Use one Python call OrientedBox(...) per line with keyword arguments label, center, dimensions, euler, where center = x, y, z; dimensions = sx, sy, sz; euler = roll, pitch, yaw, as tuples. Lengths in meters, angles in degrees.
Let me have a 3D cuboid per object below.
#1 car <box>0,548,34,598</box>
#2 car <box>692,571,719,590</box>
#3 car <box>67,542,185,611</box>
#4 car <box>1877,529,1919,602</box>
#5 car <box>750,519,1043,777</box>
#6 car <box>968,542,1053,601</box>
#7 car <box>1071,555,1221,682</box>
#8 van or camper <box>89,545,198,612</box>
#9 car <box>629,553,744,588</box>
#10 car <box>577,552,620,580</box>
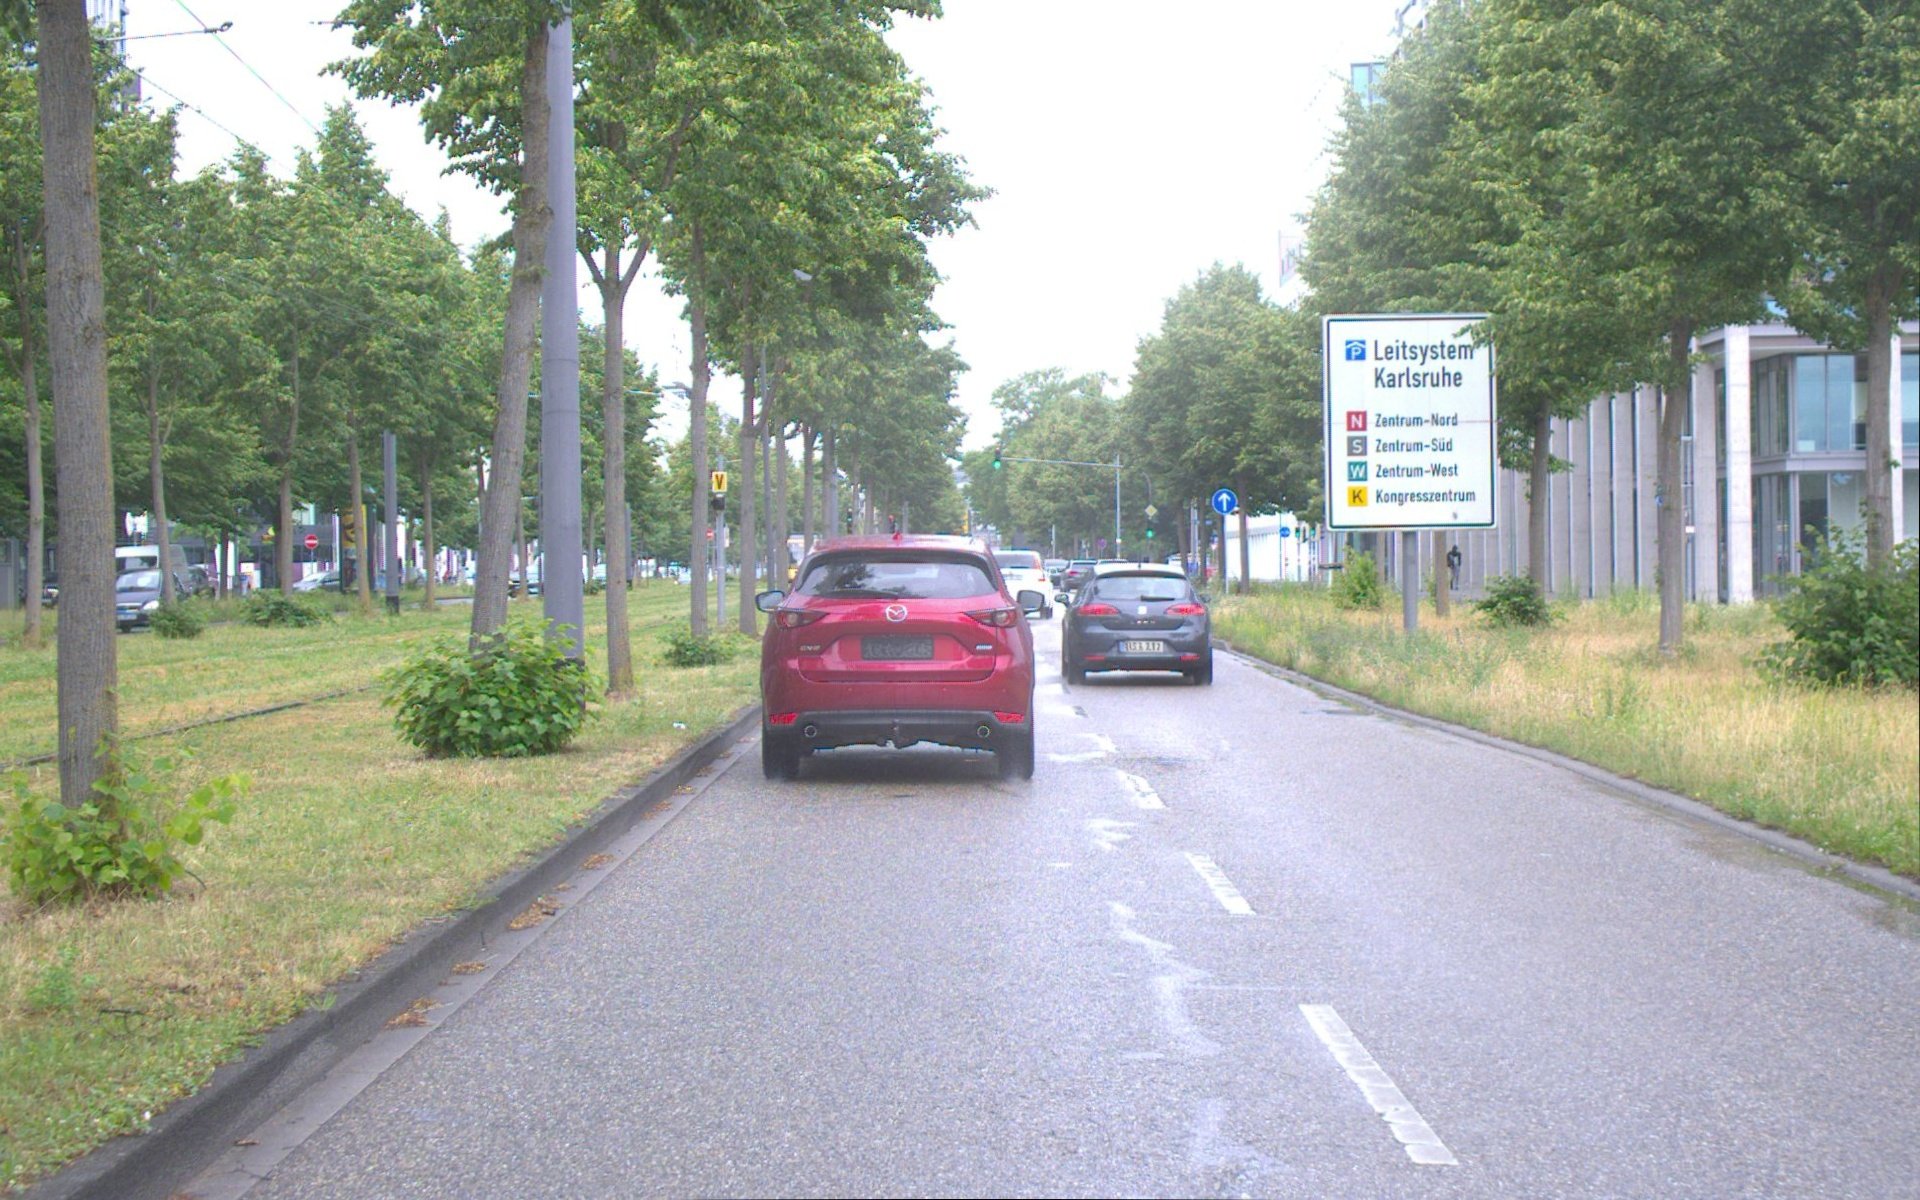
OrientedBox(label="car", center=(-28.571, -0.789, 100.813), dimensions=(1.702, 1.444, 4.241), euler=(0, 1, 0))
OrientedBox(label="car", center=(-19.035, -1.479, 257.216), dimensions=(1.710, 1.399, 4.000), euler=(0, 1, 0))
OrientedBox(label="car", center=(-20.727, -0.605, 85.588), dimensions=(1.993, 1.651, 3.699), euler=(-1, 1, 0))
OrientedBox(label="car", center=(21.475, -0.781, 75.908), dimensions=(1.855, 1.575, 3.999), euler=(0, 1, 7))
OrientedBox(label="car", center=(-0.431, 0.278, 24.289), dimensions=(1.898, 1.671, 4.000), euler=(0, 1, -1))
OrientedBox(label="car", center=(1.234, -0.733, 86.124), dimensions=(1.967, 1.432, 4.553), euler=(0, 1, -1))
OrientedBox(label="car", center=(2.317, 0.192, 42.127), dimensions=(1.744, 1.460, 3.781), euler=(0, 1, 4))
OrientedBox(label="van or camper", center=(-28.762, -0.786, 121.258), dimensions=(2.433, 2.307, 5.850), euler=(0, 1, 0))
OrientedBox(label="car", center=(-12.183, -1.320, 153.261), dimensions=(4.665, 1.516, 2.000), euler=(-1, 1, -28))
OrientedBox(label="car", center=(-20.177, -1.916, 191.851), dimensions=(1.863, 1.519, 4.479), euler=(-1, 1, 0))
